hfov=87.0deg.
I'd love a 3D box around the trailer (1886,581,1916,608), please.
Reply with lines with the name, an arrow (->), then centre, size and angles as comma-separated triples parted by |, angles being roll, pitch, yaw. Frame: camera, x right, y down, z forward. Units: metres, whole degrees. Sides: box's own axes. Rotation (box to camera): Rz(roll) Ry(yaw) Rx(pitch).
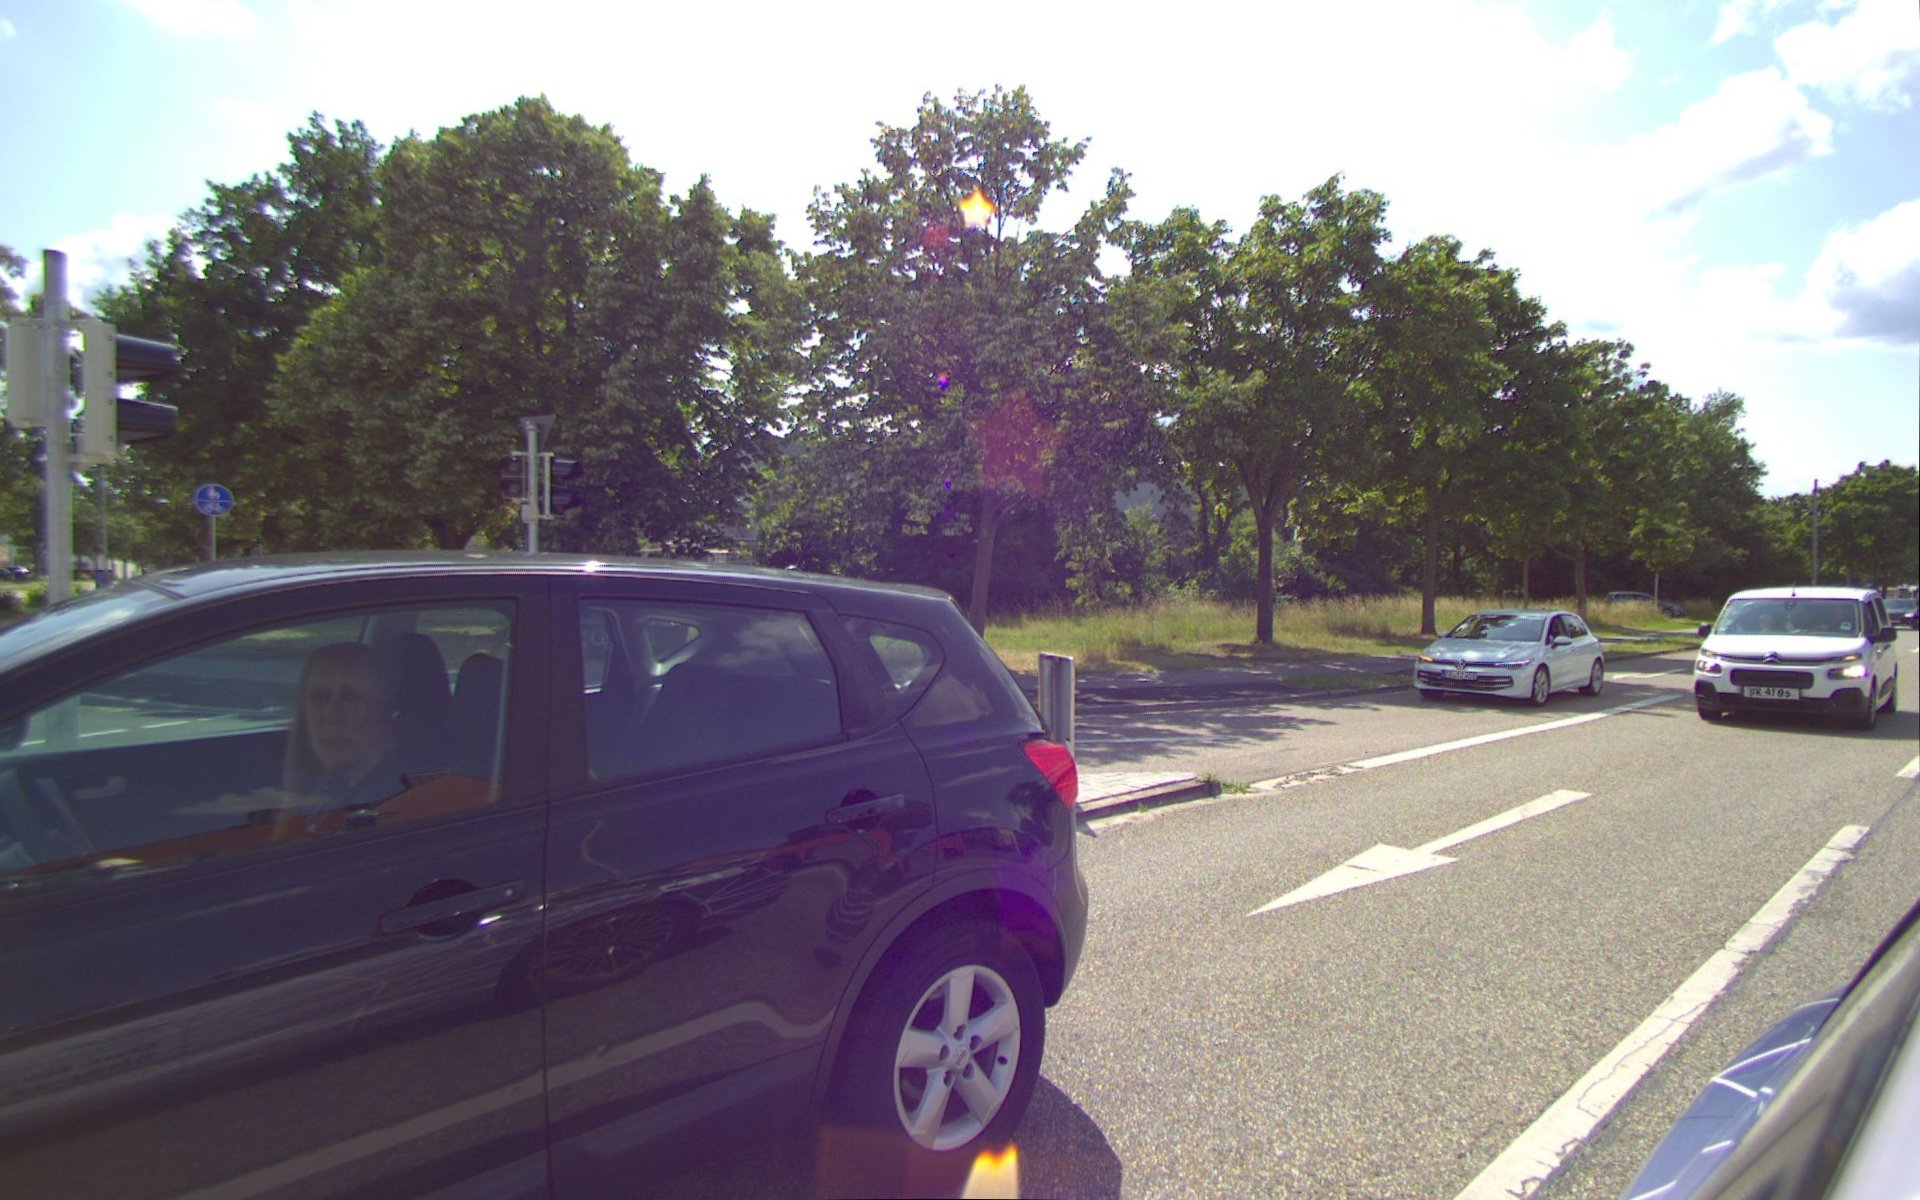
trailer -> 87.996, -0.533, 94.600 | 1.953, 2.380, 4.533 | 2, 3, 44

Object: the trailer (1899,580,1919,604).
trailer -> 102.659, -0.831, 108.902 | 4.704, 2.393, 1.996 | -2, 6, -45

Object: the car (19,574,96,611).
car -> -32.287, -0.244, 36.191 | 1.884, 1.193, 3.768 | -1, 0, -44

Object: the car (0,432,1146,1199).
car -> -1.530, 0.577, 2.243 | 3.933, 1.571, 1.801 | -2, 0, -43

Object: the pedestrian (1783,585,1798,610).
pedestrian -> 60.554, -0.170, 73.811 | 0.728, 1.816, 0.717 | -1, -1, -45

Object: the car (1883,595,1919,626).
car -> 50.286, 0.552, 53.485 | 3.930, 1.509, 1.757 | -2, 0, -41

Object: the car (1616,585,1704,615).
car -> 42.473, -0.004, 61.430 | 4.161, 1.511, 1.757 | 5, 2, 42

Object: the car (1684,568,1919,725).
car -> 11.726, 0.545, 13.979 | 4.637, 1.808, 1.932 | 0, -1, -44

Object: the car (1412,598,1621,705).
car -> 9.103, 0.728, 16.432 | 4.021, 1.505, 1.735 | 0, 0, -42
